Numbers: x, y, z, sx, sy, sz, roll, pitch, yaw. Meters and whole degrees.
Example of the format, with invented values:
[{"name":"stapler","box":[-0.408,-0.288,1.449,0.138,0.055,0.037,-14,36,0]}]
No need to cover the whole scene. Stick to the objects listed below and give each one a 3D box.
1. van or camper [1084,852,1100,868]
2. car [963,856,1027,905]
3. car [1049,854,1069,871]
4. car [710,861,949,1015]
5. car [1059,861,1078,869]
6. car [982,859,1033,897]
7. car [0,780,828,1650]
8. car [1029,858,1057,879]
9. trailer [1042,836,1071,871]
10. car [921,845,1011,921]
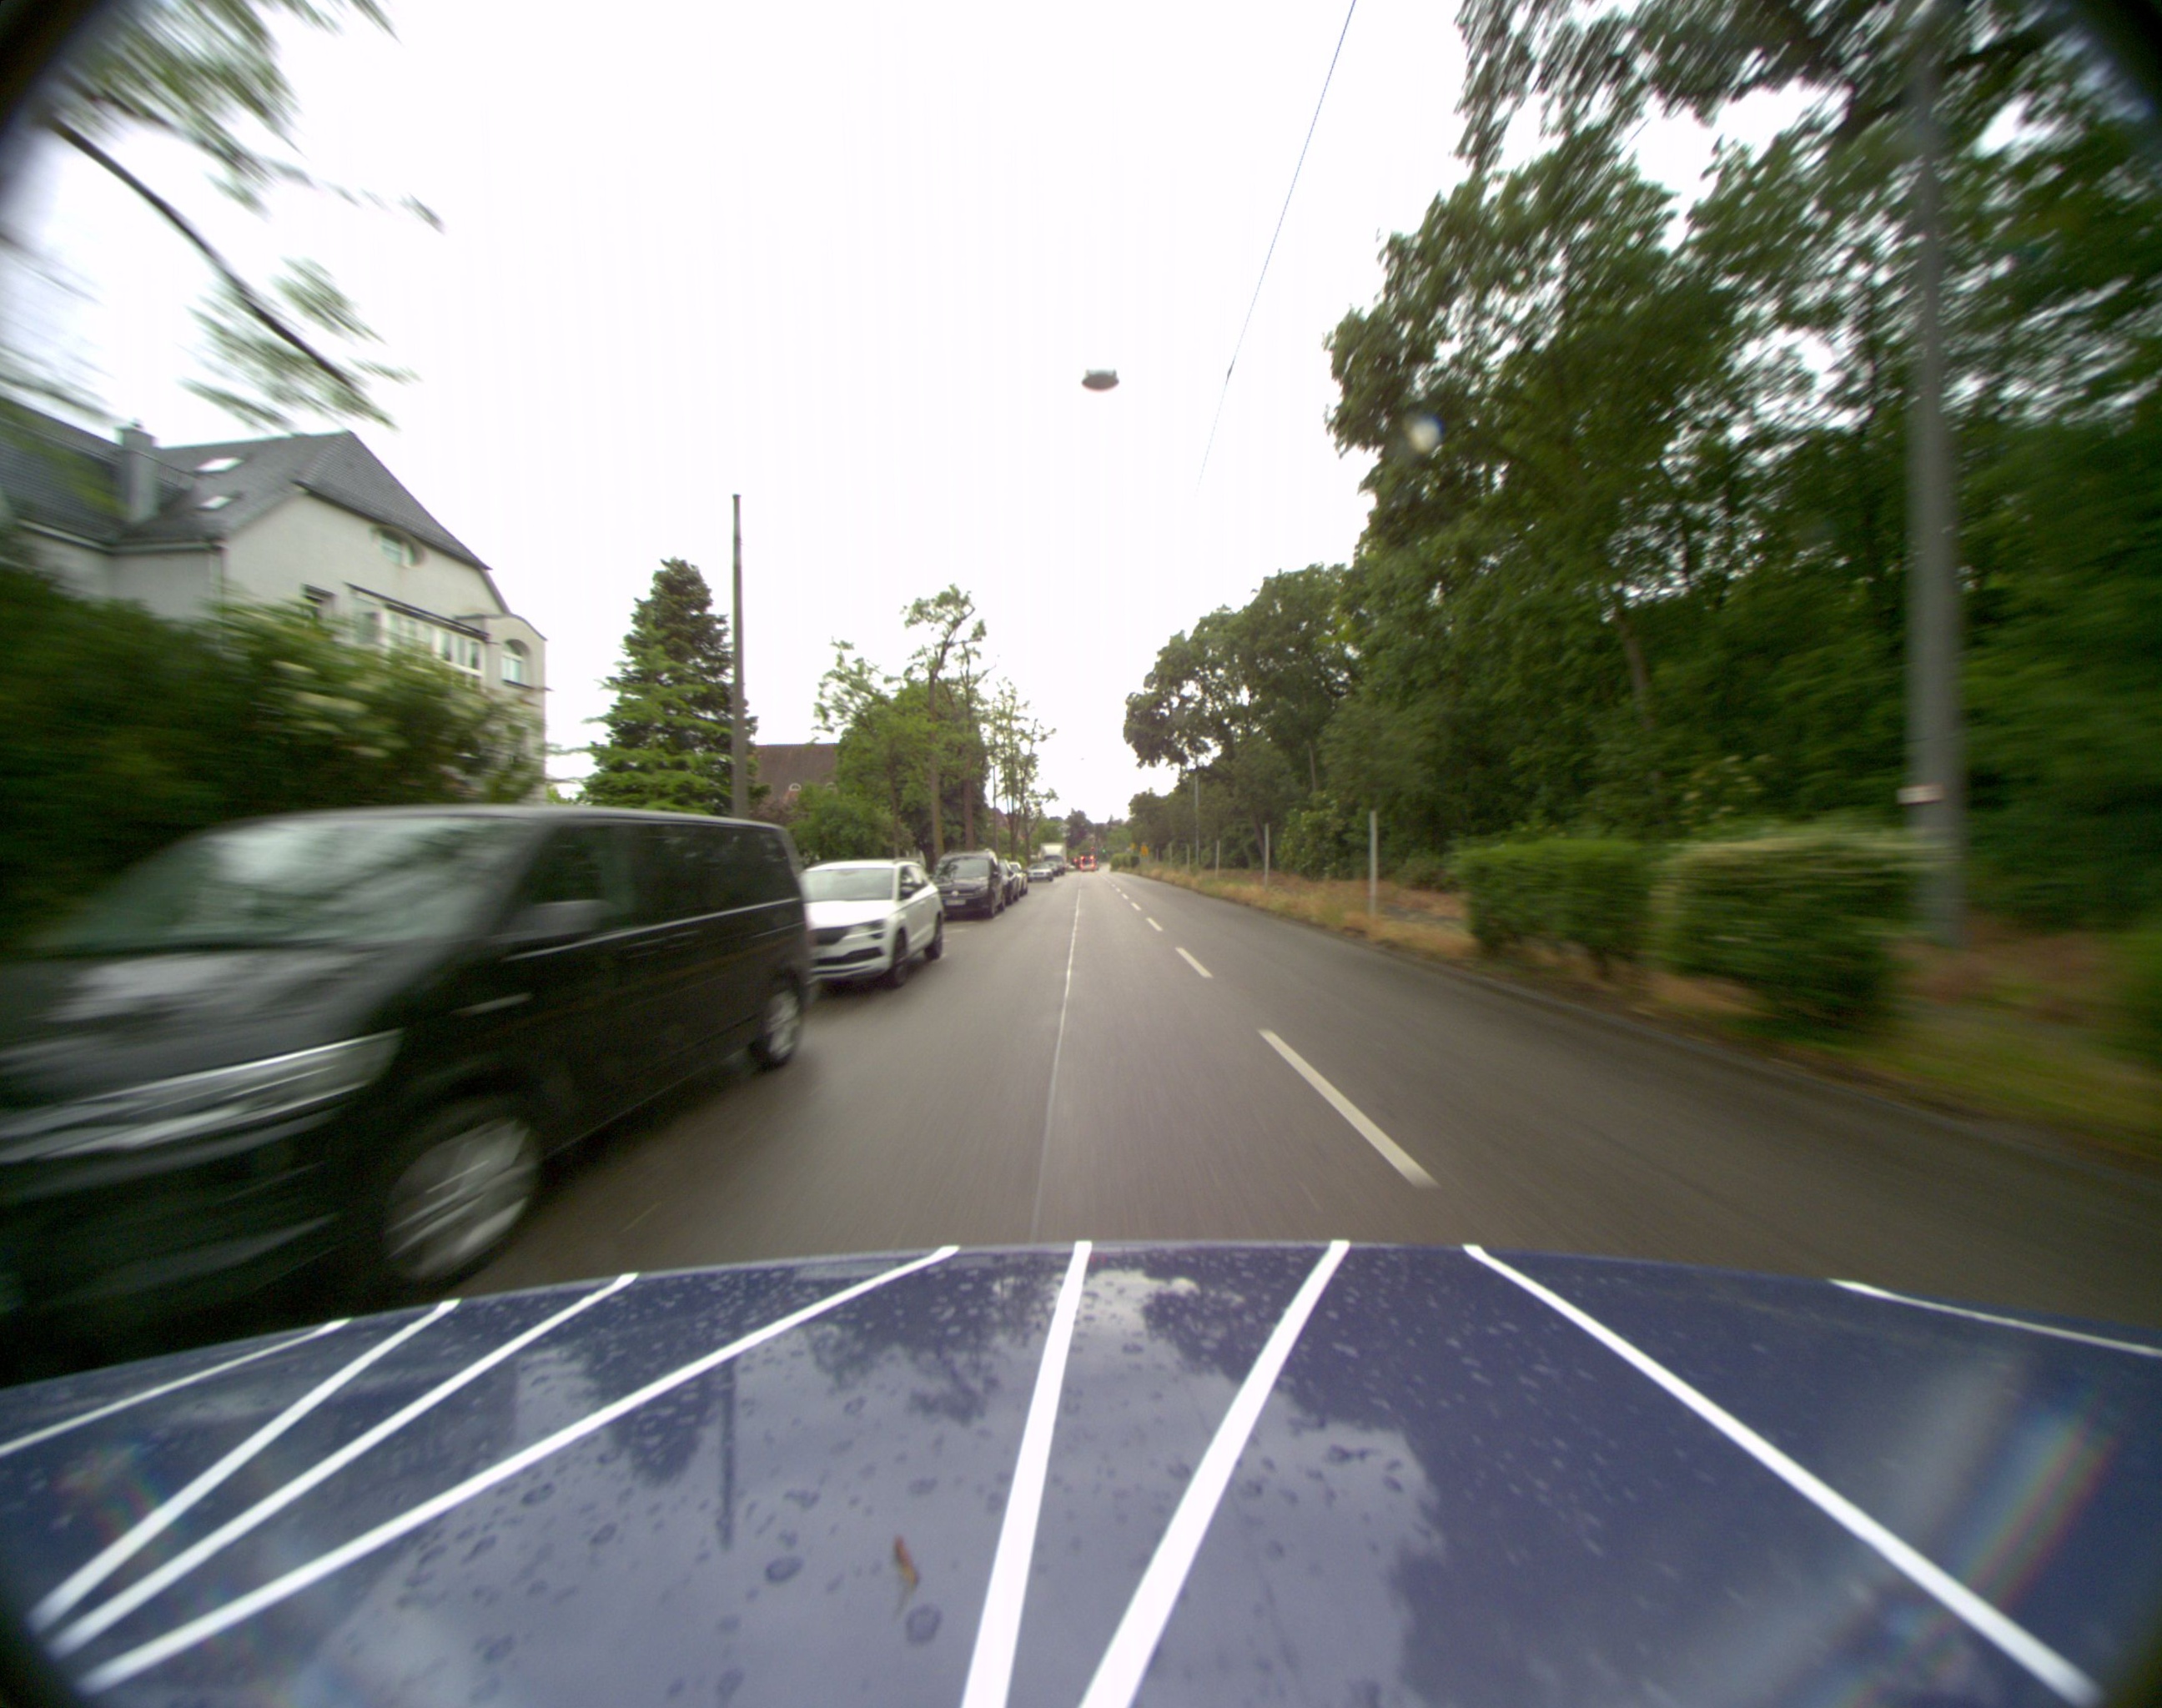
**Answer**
[{"name":"van or camper","box":[2.296,1.178,157.609,2.862,3.159,6.852,-3,0,3]},{"name":"car","box":[-2.957,0.877,26.894,1.683,1.546,4.076,-3,0,1]},{"name":"car","box":[-2.052,0.783,71.995,1.645,1.455,4.000,-3,0,0]},{"name":"car","box":[-3.132,0.943,10.484,1.809,1.603,4.286,-3,0,0]},{"name":"car","box":[-3.611,3.124,218.274,5.049,1.967,2.001,-3,0,5]},{"name":"car","box":[-3.079,0.989,32.454,1.742,1.456,3.725,-3,0,1]},{"name":"car","box":[-3.294,0.894,4.207,1.998,2.002,4.888,-3,0,1]},{"name":"car","box":[-2.662,1.001,53.929,1.786,1.387,4.000,-3,0,-1]},{"name":"trailer","box":[-2.557,-0.036,82.207,2.741,3.487,8.247,-3,0,0]},{"name":"car","box":[-3.077,0.749,21.132,1.734,1.836,4.230,-3,0,1]}]
